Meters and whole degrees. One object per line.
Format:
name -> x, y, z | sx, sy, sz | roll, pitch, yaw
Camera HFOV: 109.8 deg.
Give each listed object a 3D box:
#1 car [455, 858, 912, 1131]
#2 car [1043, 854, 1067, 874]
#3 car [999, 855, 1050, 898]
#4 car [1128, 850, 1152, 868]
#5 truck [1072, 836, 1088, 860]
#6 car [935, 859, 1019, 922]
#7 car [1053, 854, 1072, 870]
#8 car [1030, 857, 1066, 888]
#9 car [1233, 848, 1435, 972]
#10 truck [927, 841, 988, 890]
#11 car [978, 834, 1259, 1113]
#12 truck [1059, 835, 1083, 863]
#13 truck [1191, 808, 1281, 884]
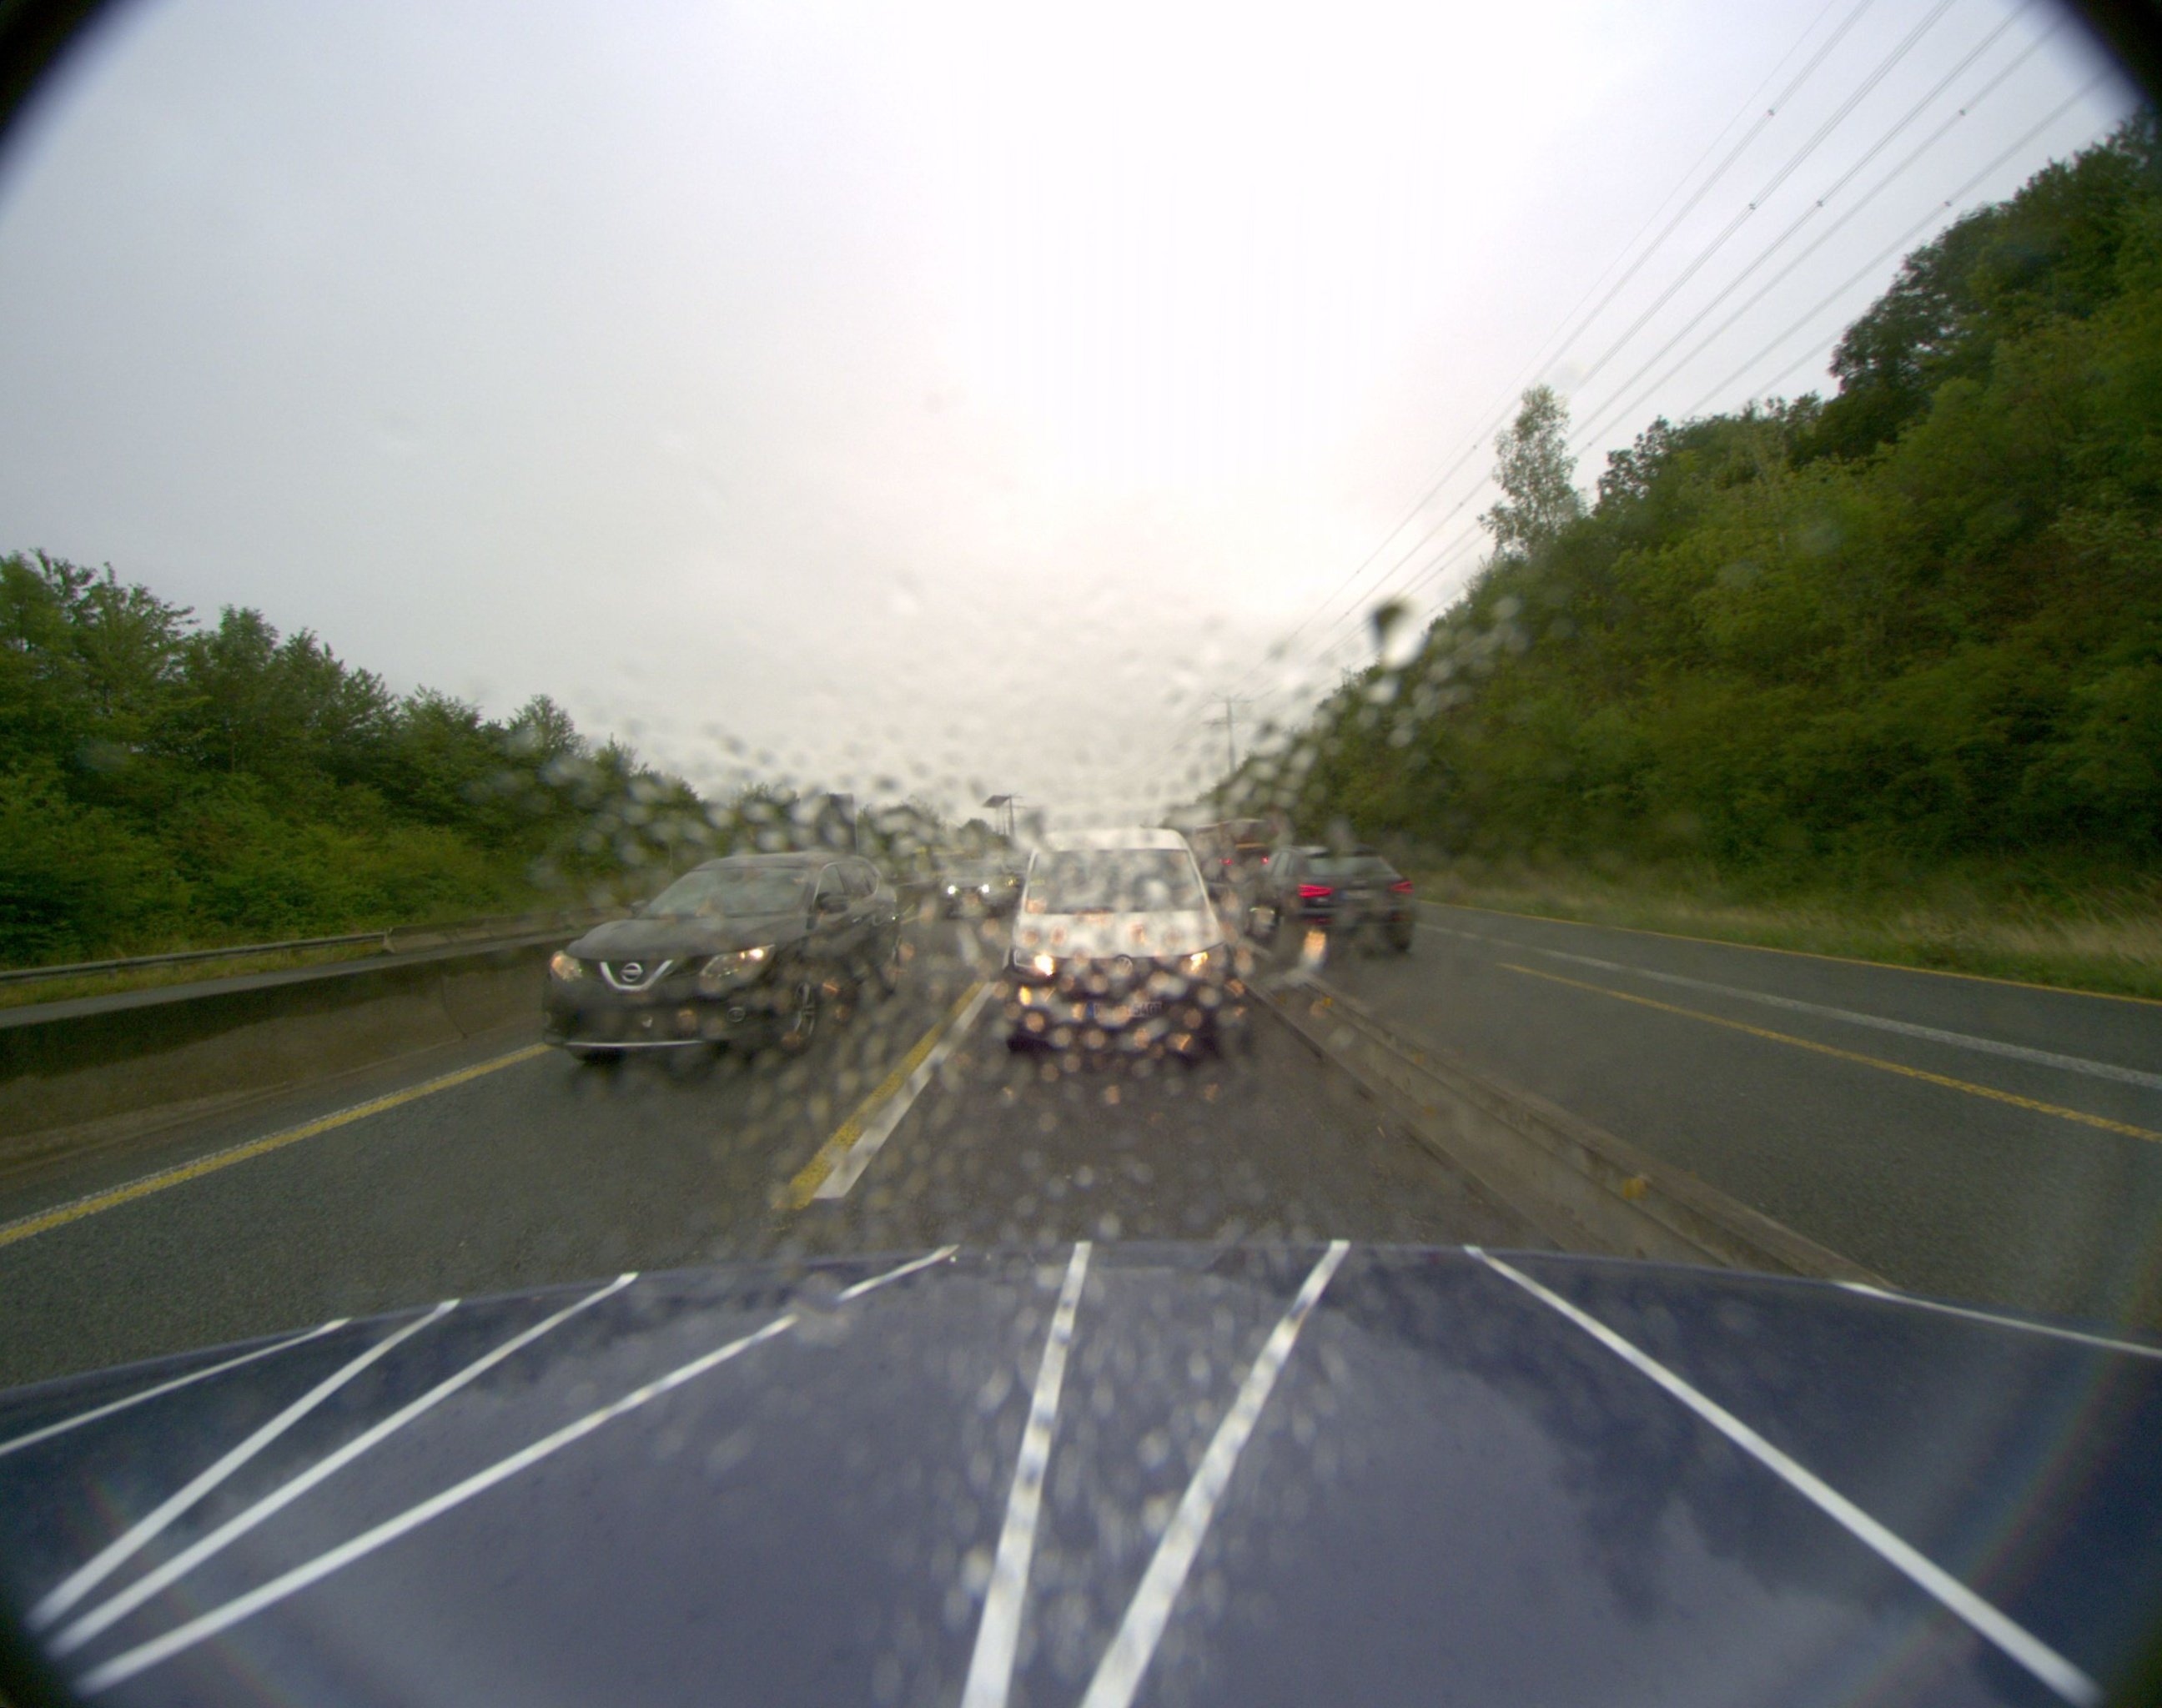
car -> -3.133, 0.942, 7.332 | 1.894, 1.665, 4.640 | -2, 1, 0
car -> -2.083, 0.799, 61.653 | 1.784, 1.482, 4.123 | -2, 1, 0
car -> -2.340, 0.891, 32.279 | 1.784, 1.589, 4.123 | -2, 1, 0
car -> 5.019, 0.439, 65.244 | 1.690, 1.401, 3.929 | -2, 1, 0
truck -> -0.148, -1.061, 130.301 | 2.619, 3.869, 9.574 | -2, 1, 0
car -> -2.860, 0.964, 21.717 | 1.784, 1.482, 4.123 | -2, 1, 0
car -> -1.825, 0.829, 76.729 | 1.784, 1.482, 4.123 | -2, 1, 0
car -> -1.774, 0.992, 42.364 | 1.784, 1.482, 4.123 | -2, 1, 0
car -> 3.703, 0.715, 11.903 | 1.815, 1.550, 3.989 | -2, 1, 0
truck -> -9.405, 0.777, 59.034 | 2.619, 3.404, 9.576 | -2, 1, 2
car -> 0.255, 0.761, 7.332 | 1.784, 1.775, 4.697 | -2, 1, 0
truck -> -1.318, -0.691, 102.522 | 2.619, 3.404, 9.575 | -2, 1, 2
truck -> 7.882, -0.429, 40.419 | 2.541, 3.333, 12.049 | -2, 1, 1
